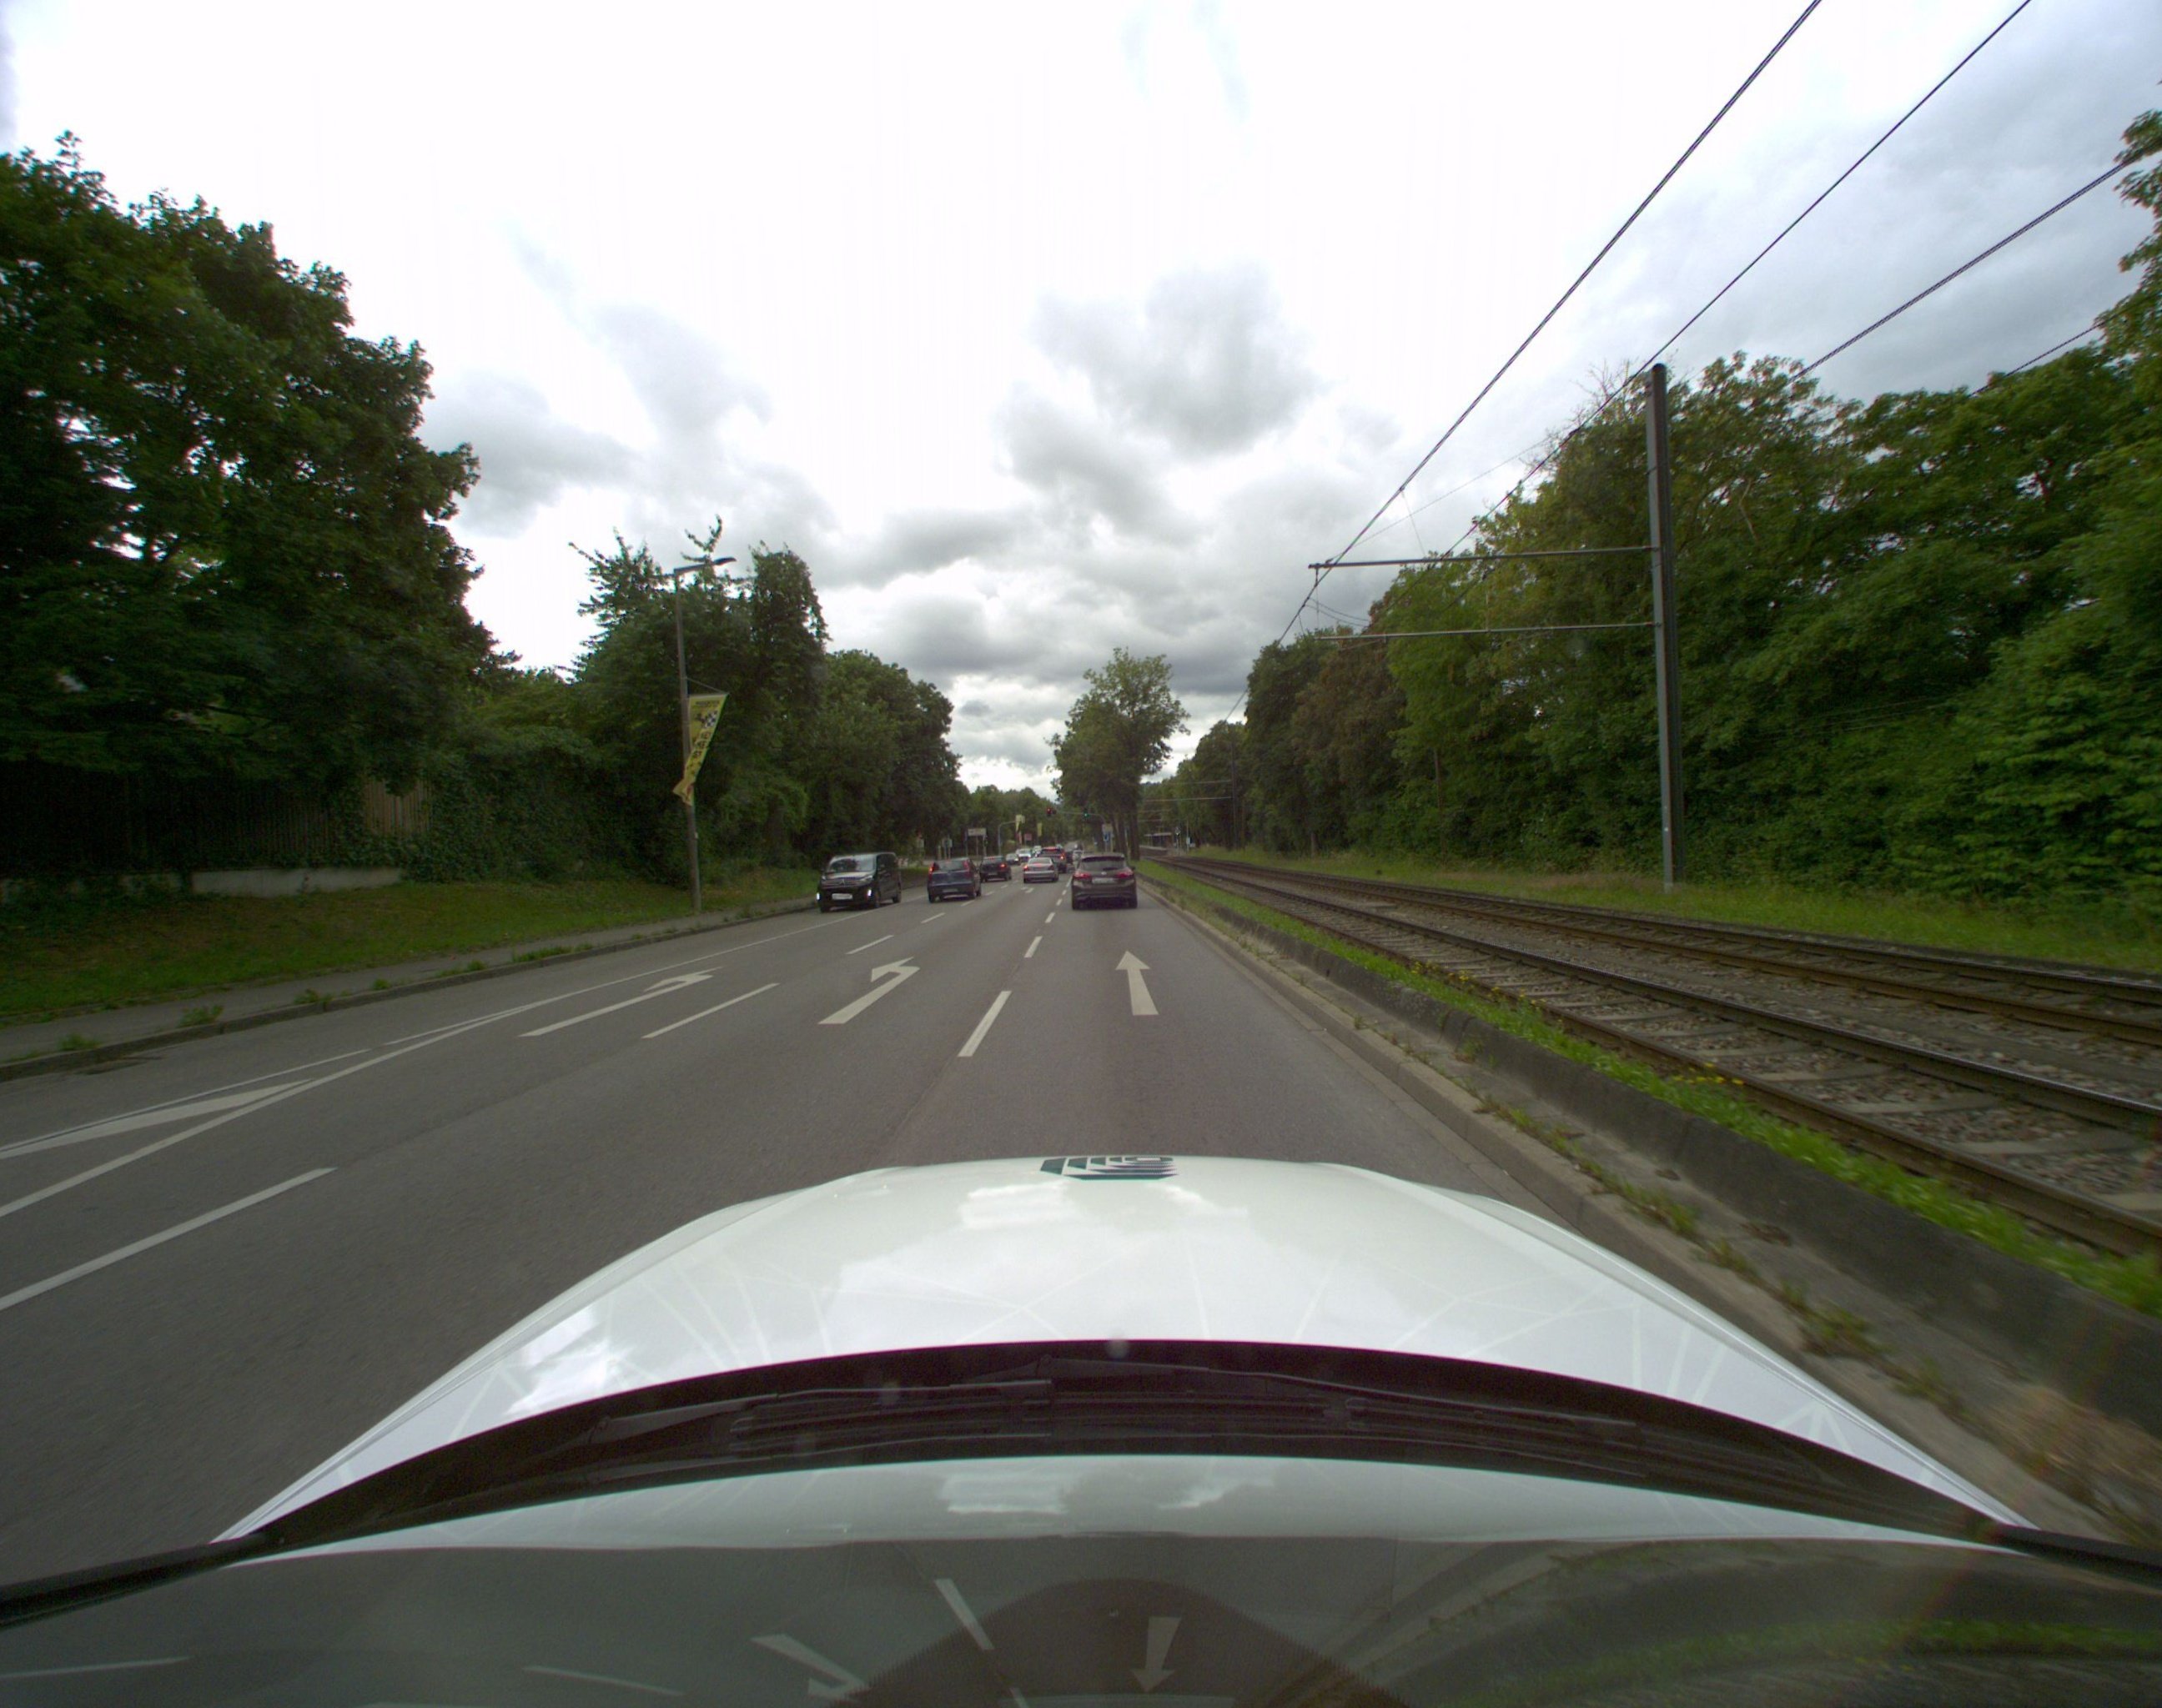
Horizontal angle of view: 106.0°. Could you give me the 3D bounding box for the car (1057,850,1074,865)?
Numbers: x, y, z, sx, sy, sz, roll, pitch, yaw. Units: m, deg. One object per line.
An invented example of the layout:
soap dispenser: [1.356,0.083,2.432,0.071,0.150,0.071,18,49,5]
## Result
car: [-1.587,0.400,85.041,1.698,1.480,3.667,-2,0,0]

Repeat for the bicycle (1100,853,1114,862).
bicycle: [3.288,0.455,104.203,1.671,1.090,0.601,-5,0,-4]

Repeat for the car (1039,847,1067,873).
car: [-1.952,0.414,58.428,1.797,1.795,4.503,-1,0,1]

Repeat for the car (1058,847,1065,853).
car: [-5.910,-1.269,247.470,1.897,1.678,5.077,-2,0,-2]

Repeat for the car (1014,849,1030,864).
car: [-8.104,0.327,112.835,1.786,1.831,4.408,-3,0,0]

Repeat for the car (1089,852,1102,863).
car: [2.116,0.512,118.019,1.500,1.528,3.666,-1,0,-4]

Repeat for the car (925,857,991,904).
car: [-4.377,0.887,29.508,1.585,1.468,3.931,-4,0,2]

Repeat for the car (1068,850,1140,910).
car: [0.665,0.673,23.225,1.830,1.528,3.931,-1,0,2]

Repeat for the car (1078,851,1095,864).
car: [0.655,0.379,90.287,1.704,1.475,3.673,-1,0,2]

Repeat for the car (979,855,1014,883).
car: [-4.887,0.841,47.478,1.551,1.466,3.807,-4,0,0]

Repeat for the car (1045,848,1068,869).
car: [-2.194,0.389,75.288,1.901,1.843,5.281,-2,0,0]

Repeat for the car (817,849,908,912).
car: [-7.466,0.855,28.344,1.798,1.904,4.688,-4,0,0]

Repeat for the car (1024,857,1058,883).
car: [-2.063,0.801,42.768,1.550,1.267,3.822,-2,0,0]

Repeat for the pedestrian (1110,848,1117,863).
pedestrian: [3.836,0.140,95.972,0.748,1.737,0.841,-5,0,5]

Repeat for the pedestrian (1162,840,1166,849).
pedestrian: [14.906,-1.679,146.711,0.715,1.511,0.724,0,-1,3]

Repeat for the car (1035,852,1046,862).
car: [-6.934,0.527,139.984,1.734,1.538,3.909,-1,0,0]

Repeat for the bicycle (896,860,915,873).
bicycle: [-17.545,1.206,81.318,0.539,1.252,1.948,-1,-1,37]
